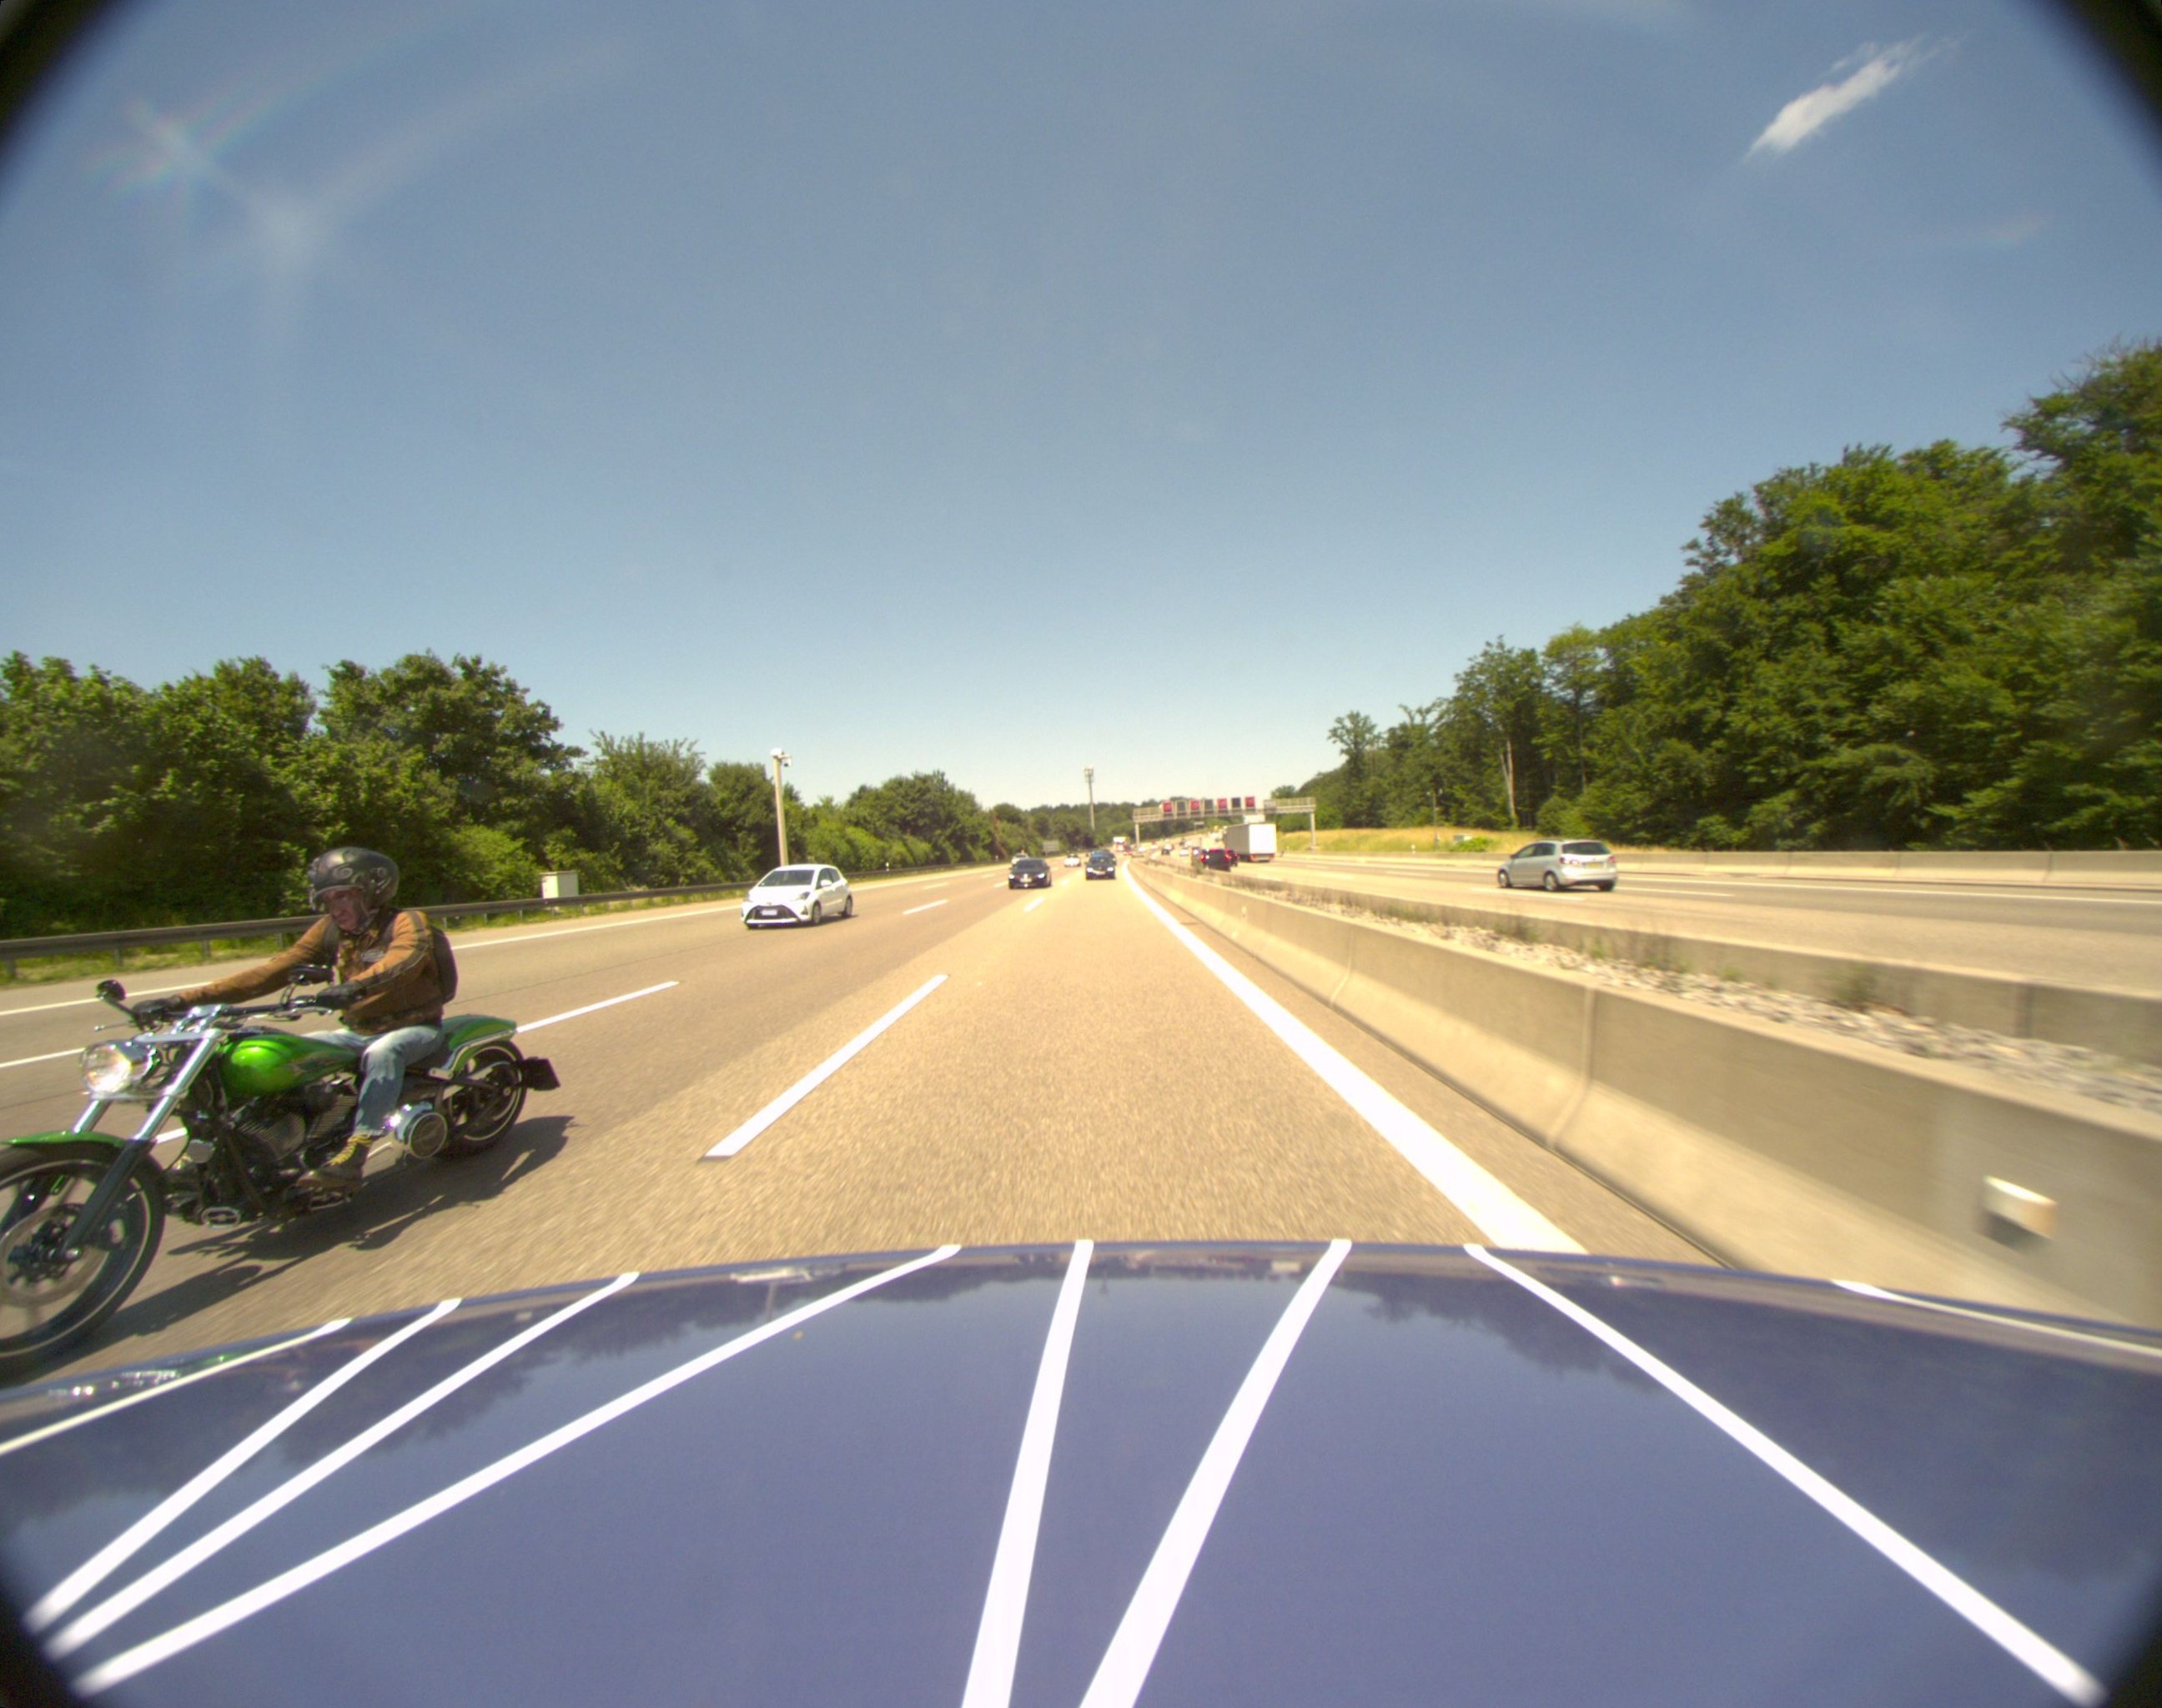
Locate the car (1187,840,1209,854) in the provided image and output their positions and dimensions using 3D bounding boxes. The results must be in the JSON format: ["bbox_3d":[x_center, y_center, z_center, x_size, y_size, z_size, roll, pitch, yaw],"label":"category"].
[{"bbox_3d":[15.305,-0.883,99.472,2.292,1.718,5.030,-2,1,2],"label":"car"}]

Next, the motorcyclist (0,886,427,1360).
[{"bbox_3d":[-3.412,0.865,2.906,0.854,1.419,1.024,-1,1,8],"label":"motorcyclist"}]

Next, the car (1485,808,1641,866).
[{"bbox_3d":[14.626,-0.474,23.410,1.998,1.523,4.378,-3,0,1],"label":"car"}]

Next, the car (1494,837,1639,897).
[{"bbox_3d":[14.579,0.338,23.141,1.722,1.595,4.281,-2,0,1],"label":"car"}]

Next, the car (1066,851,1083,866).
[{"bbox_3d":[-0.732,0.548,87.118,1.729,1.521,3.741,-3,1,2],"label":"car"}]

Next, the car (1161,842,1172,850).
[{"bbox_3d":[17.508,-1.606,155.699,1.998,1.581,4.845,-2,1,5],"label":"car"}]

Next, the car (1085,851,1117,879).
[{"bbox_3d":[1.231,0.647,45.652,1.769,1.495,4.001,-3,0,3],"label":"car"}]

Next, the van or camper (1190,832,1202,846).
[{"bbox_3d":[31.348,-4.051,206.867,2.435,3.657,7.759,-2,1,4],"label":"van or camper"}]

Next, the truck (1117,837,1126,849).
[{"bbox_3d":[11.890,-3.121,224.441,2.434,3.457,7.024,-2,0,4],"label":"truck"}]

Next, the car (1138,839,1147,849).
[{"bbox_3d":[16.810,-2.749,208.412,2.233,2.372,4.162,-3,2,4],"label":"car"}]

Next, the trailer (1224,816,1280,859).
[{"bbox_3d":[18.438,-1.761,82.899,2.871,4.238,13.957,-2,1,0],"label":"trailer"}]

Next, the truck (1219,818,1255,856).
[{"bbox_3d":[18.492,-1.999,90.369,2.883,4.265,6.452,-2,1,1],"label":"truck"}]

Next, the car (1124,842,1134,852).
[{"bbox_3d":[10.455,-1.564,166.579,1.998,2.002,4.001,-3,0,3],"label":"car"}]

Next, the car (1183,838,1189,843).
[{"bbox_3d":[33.938,-4.259,244.854,1.704,1.394,4.351,-3,2,7],"label":"car"}]

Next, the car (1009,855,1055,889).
[{"bbox_3d":[-2.347,0.829,37.084,1.760,1.431,3.999,-2,2,3],"label":"car"}]

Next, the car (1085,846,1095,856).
[{"bbox_3d":[1.928,-0.587,164.604,1.998,2.002,3.999,-3,2,1],"label":"car"}]

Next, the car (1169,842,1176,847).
[{"bbox_3d":[27.852,-2.962,230.798,2.052,1.434,5.222,-2,1,5],"label":"car"}]

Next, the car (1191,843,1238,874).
[{"bbox_3d":[7.781,0.254,44.597,1.998,1.658,4.434,-2,0,1],"label":"car"}]

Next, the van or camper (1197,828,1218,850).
[{"bbox_3d":[22.830,-2.789,137.597,2.836,3.818,8.214,-3,2,4],"label":"van or camper"}]

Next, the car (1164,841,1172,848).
[{"bbox_3d":[23.874,-2.675,208.635,1.992,1.727,5.345,-3,1,5],"label":"car"}]

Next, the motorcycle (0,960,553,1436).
[{"bbox_3d":[-3.404,1.174,3.075,0.536,1.129,2.438,-1,0,8],"label":"motorcycle"}]

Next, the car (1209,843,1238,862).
[{"bbox_3d":[12.677,-0.169,67.725,1.765,1.512,4.361,-3,2,2],"label":"car"}]

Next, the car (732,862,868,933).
[{"bbox_3d":[-7.113,1.027,19.765,1.754,1.510,4.484,-2,0,1],"label":"car"}]

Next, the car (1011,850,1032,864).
[{"bbox_3d":[-7.434,0.392,94.657,1.998,1.521,4.000,-2,2,4],"label":"car"}]

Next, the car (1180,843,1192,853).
[{"bbox_3d":[19.281,-1.035,139.689,1.744,1.752,5.119,-2,1,4],"label":"car"}]

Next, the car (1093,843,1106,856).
[{"bbox_3d":[2.922,-0.743,121.664,1.998,2.002,3.999,-3,2,2],"label":"car"}]
